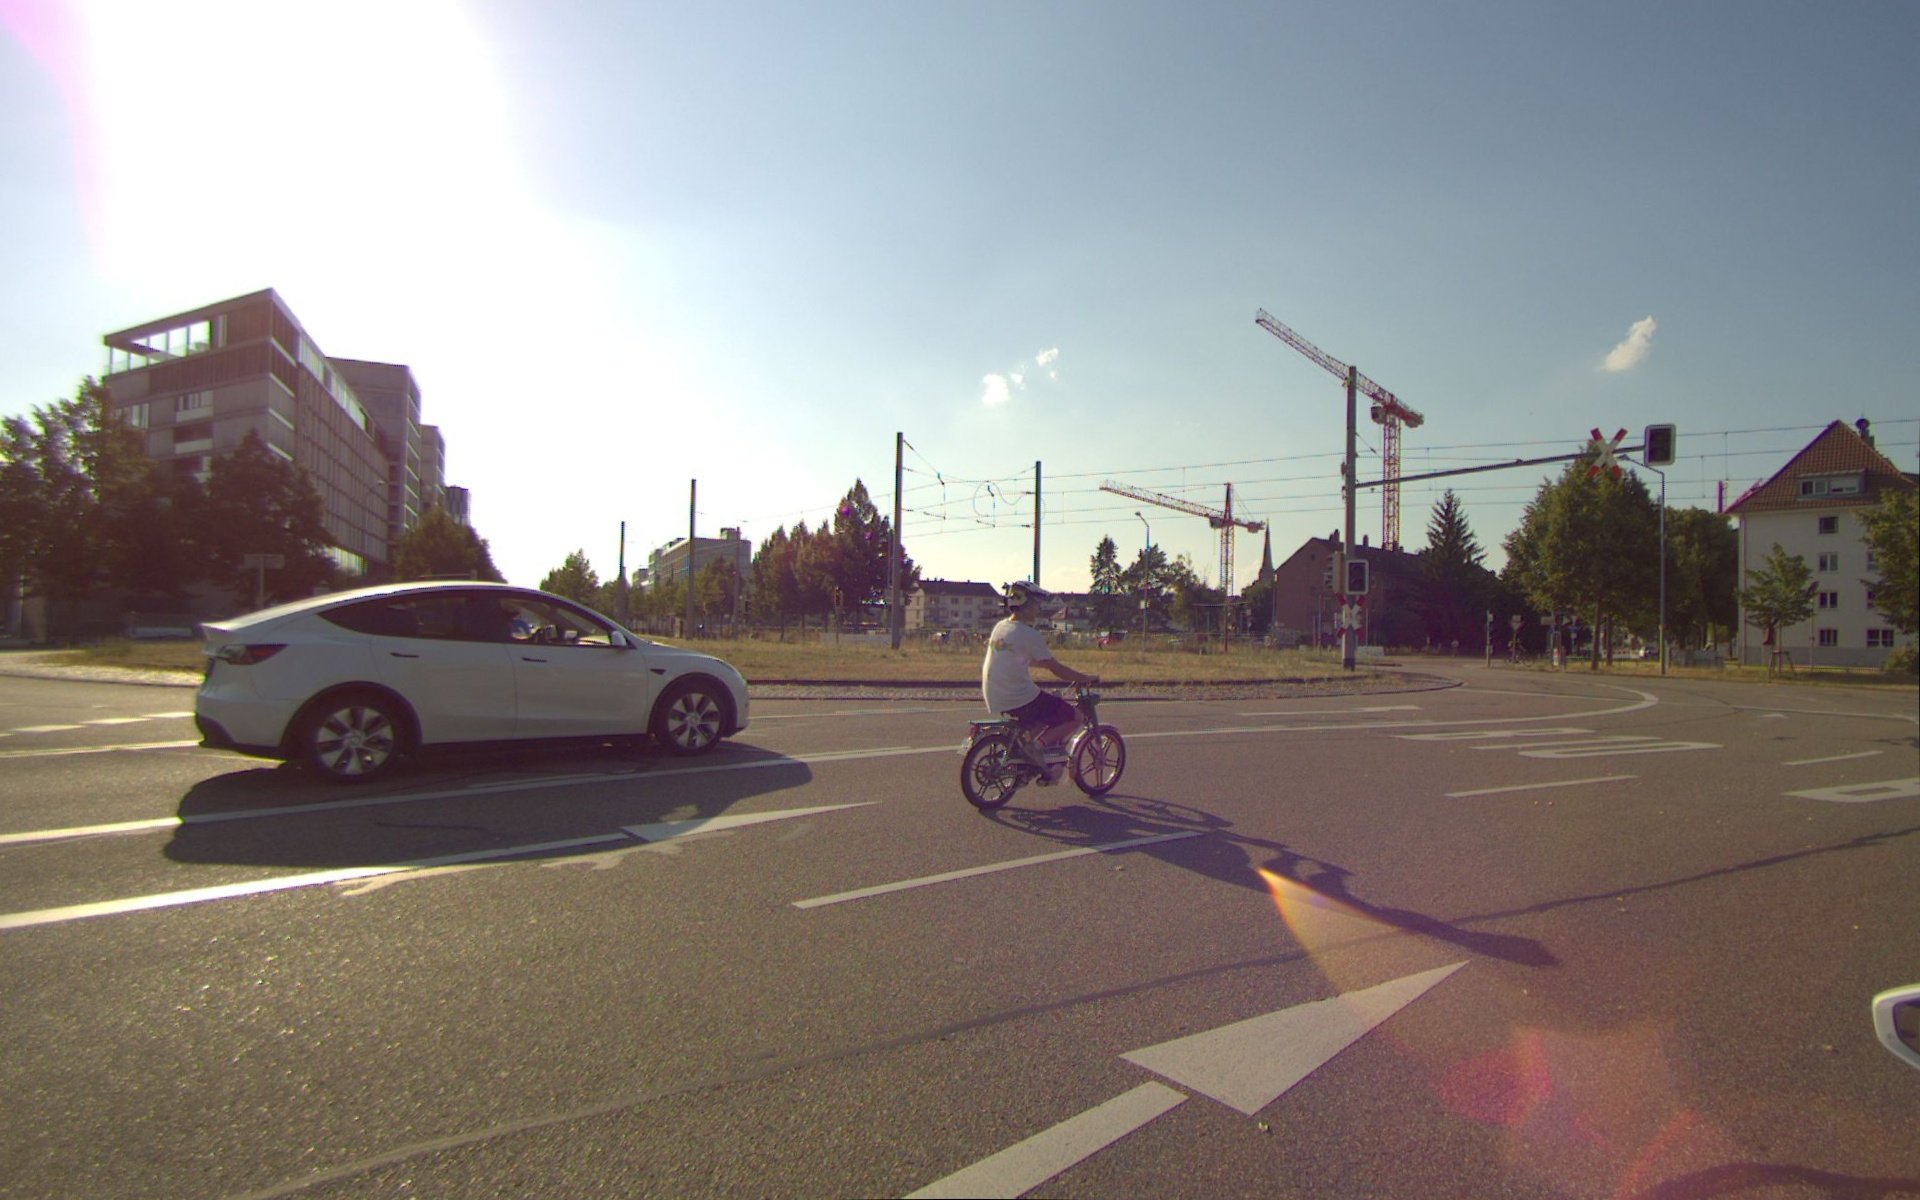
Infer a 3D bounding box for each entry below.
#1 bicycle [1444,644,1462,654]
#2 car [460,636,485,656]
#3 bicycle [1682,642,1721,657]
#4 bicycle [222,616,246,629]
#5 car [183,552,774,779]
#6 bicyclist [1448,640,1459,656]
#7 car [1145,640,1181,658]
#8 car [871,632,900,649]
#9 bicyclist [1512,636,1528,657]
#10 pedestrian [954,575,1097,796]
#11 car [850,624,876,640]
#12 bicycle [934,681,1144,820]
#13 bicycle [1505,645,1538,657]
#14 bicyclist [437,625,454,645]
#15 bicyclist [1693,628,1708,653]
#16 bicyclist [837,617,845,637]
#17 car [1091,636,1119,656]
[{"bbox_3d":[50.188,4.978,102.246,2.081,0.976,0.594,3,-2,-30],"label":"bicycle"},{"bbox_3d":[-39.042,3.684,80.448,1.462,1.495,3.285,1,-2,-20],"label":"car"},{"bbox_3d":[46.732,3.118,63.291,1.954,0.930,0.430,0,-1,18],"label":"bicycle"},{"bbox_3d":[-44.817,1.401,61.996,0.472,0.754,1.719,1,-2,-9],"label":"bicycle"},{"bbox_3d":[-4.215,0.562,9.338,4.641,1.620,1.720,3,-2,-41],"label":"car"},{"bbox_3d":[50.251,4.920,102.253,0.883,1.582,0.655,2,-2,-28],"label":"bicyclist"},{"bbox_3d":[23.192,5.599,114.878,3.766,2.040,1.663,-1,-3,42],"label":"car"},{"bbox_3d":[-9.479,5.141,127.350,1.979,2.040,3.964,2,-2,-33],"label":"car"},{"bbox_3d":[38.432,3.218,68.922,0.882,1.415,0.526,0,-1,18],"label":"bicyclist"},{"bbox_3d":[0.494,0.613,7.527,0.848,1.539,0.650,2,-2,-42],"label":"pedestrian"},{"bbox_3d":[-12.947,4.275,133.936,1.979,2.040,3.964,2,-2,-33],"label":"car"},{"bbox_3d":[0.656,1.106,7.737,1.842,0.887,0.473,2,-2,-43],"label":"bicycle"},{"bbox_3d":[38.477,3.489,68.829,1.954,0.836,0.430,0,-1,18],"label":"bicycle"},{"bbox_3d":[-36.709,2.508,71.635,0.949,1.375,0.685,2,-2,-39],"label":"bicyclist"},{"bbox_3d":[46.682,2.542,63.327,0.611,1.531,0.419,0,-1,18],"label":"bicyclist"},{"bbox_3d":[-10.111,2.303,85.504,0.596,1.694,0.478,1,-2,3],"label":"bicyclist"},{"bbox_3d":[14.546,4.588,100.764,1.889,1.878,3.997,1,-2,-6],"label":"car"}]
